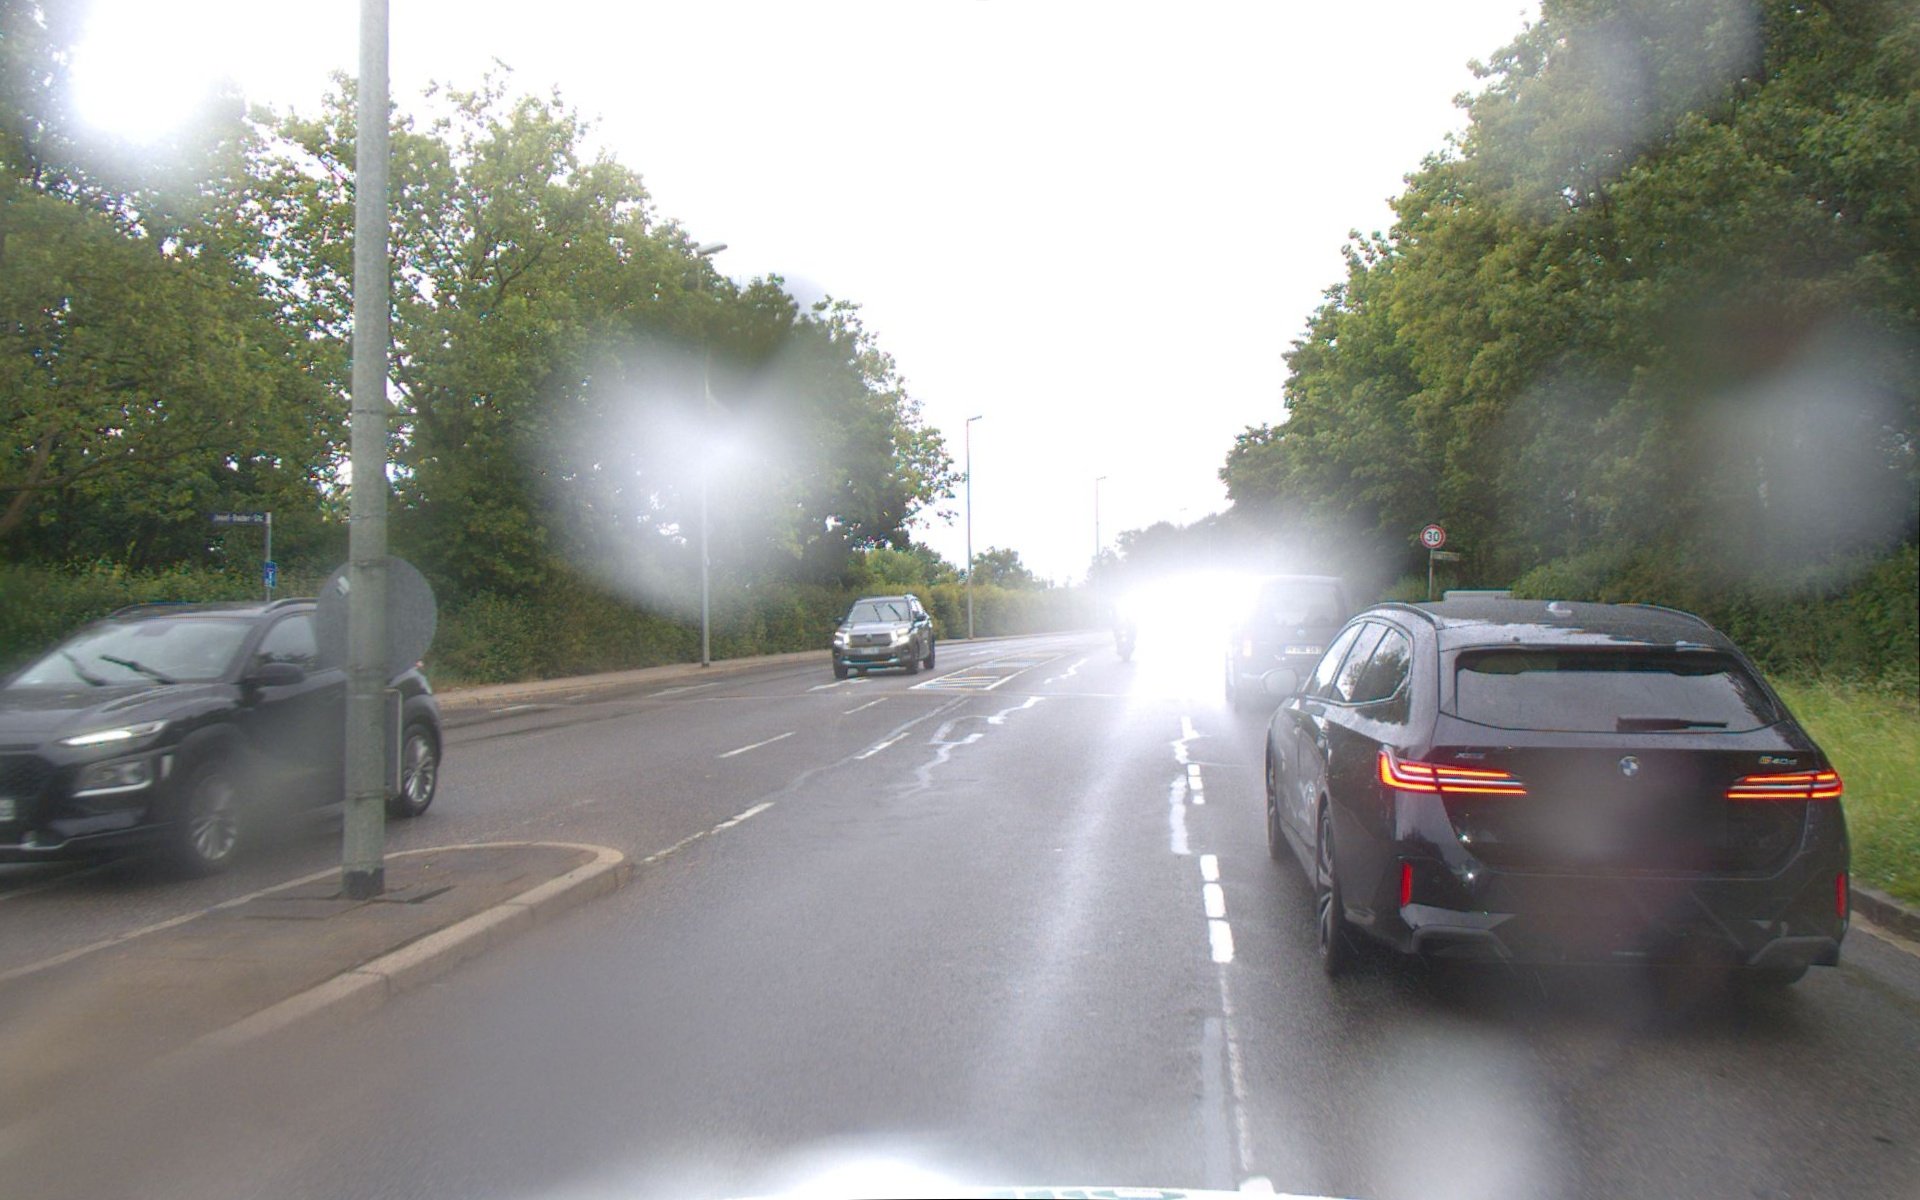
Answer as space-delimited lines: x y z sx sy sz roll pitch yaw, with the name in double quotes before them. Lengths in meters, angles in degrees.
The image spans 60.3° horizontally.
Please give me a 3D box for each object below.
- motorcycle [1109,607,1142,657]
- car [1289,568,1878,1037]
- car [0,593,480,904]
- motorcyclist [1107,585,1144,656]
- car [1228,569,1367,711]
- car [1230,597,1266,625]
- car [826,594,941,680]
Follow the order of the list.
"motorcycle" 3.959 0.758 39.503 0.725 1.139 1.428 0 1 8
"car" 2.466 0.674 7.459 1.727 1.563 3.676 0 0 8
"car" -4.875 0.796 10.648 1.982 1.590 3.880 -2 0 7
"motorcyclist" 3.938 0.482 39.399 0.827 1.676 0.468 -1 1 8
"car" 4.752 0.489 23.716 1.729 1.841 3.909 0 1 8
"car" 16.277 0.603 93.349 1.971 1.440 4.491 0 1 10
"car" -1.541 0.734 34.645 1.757 1.631 3.734 -2 0 6
